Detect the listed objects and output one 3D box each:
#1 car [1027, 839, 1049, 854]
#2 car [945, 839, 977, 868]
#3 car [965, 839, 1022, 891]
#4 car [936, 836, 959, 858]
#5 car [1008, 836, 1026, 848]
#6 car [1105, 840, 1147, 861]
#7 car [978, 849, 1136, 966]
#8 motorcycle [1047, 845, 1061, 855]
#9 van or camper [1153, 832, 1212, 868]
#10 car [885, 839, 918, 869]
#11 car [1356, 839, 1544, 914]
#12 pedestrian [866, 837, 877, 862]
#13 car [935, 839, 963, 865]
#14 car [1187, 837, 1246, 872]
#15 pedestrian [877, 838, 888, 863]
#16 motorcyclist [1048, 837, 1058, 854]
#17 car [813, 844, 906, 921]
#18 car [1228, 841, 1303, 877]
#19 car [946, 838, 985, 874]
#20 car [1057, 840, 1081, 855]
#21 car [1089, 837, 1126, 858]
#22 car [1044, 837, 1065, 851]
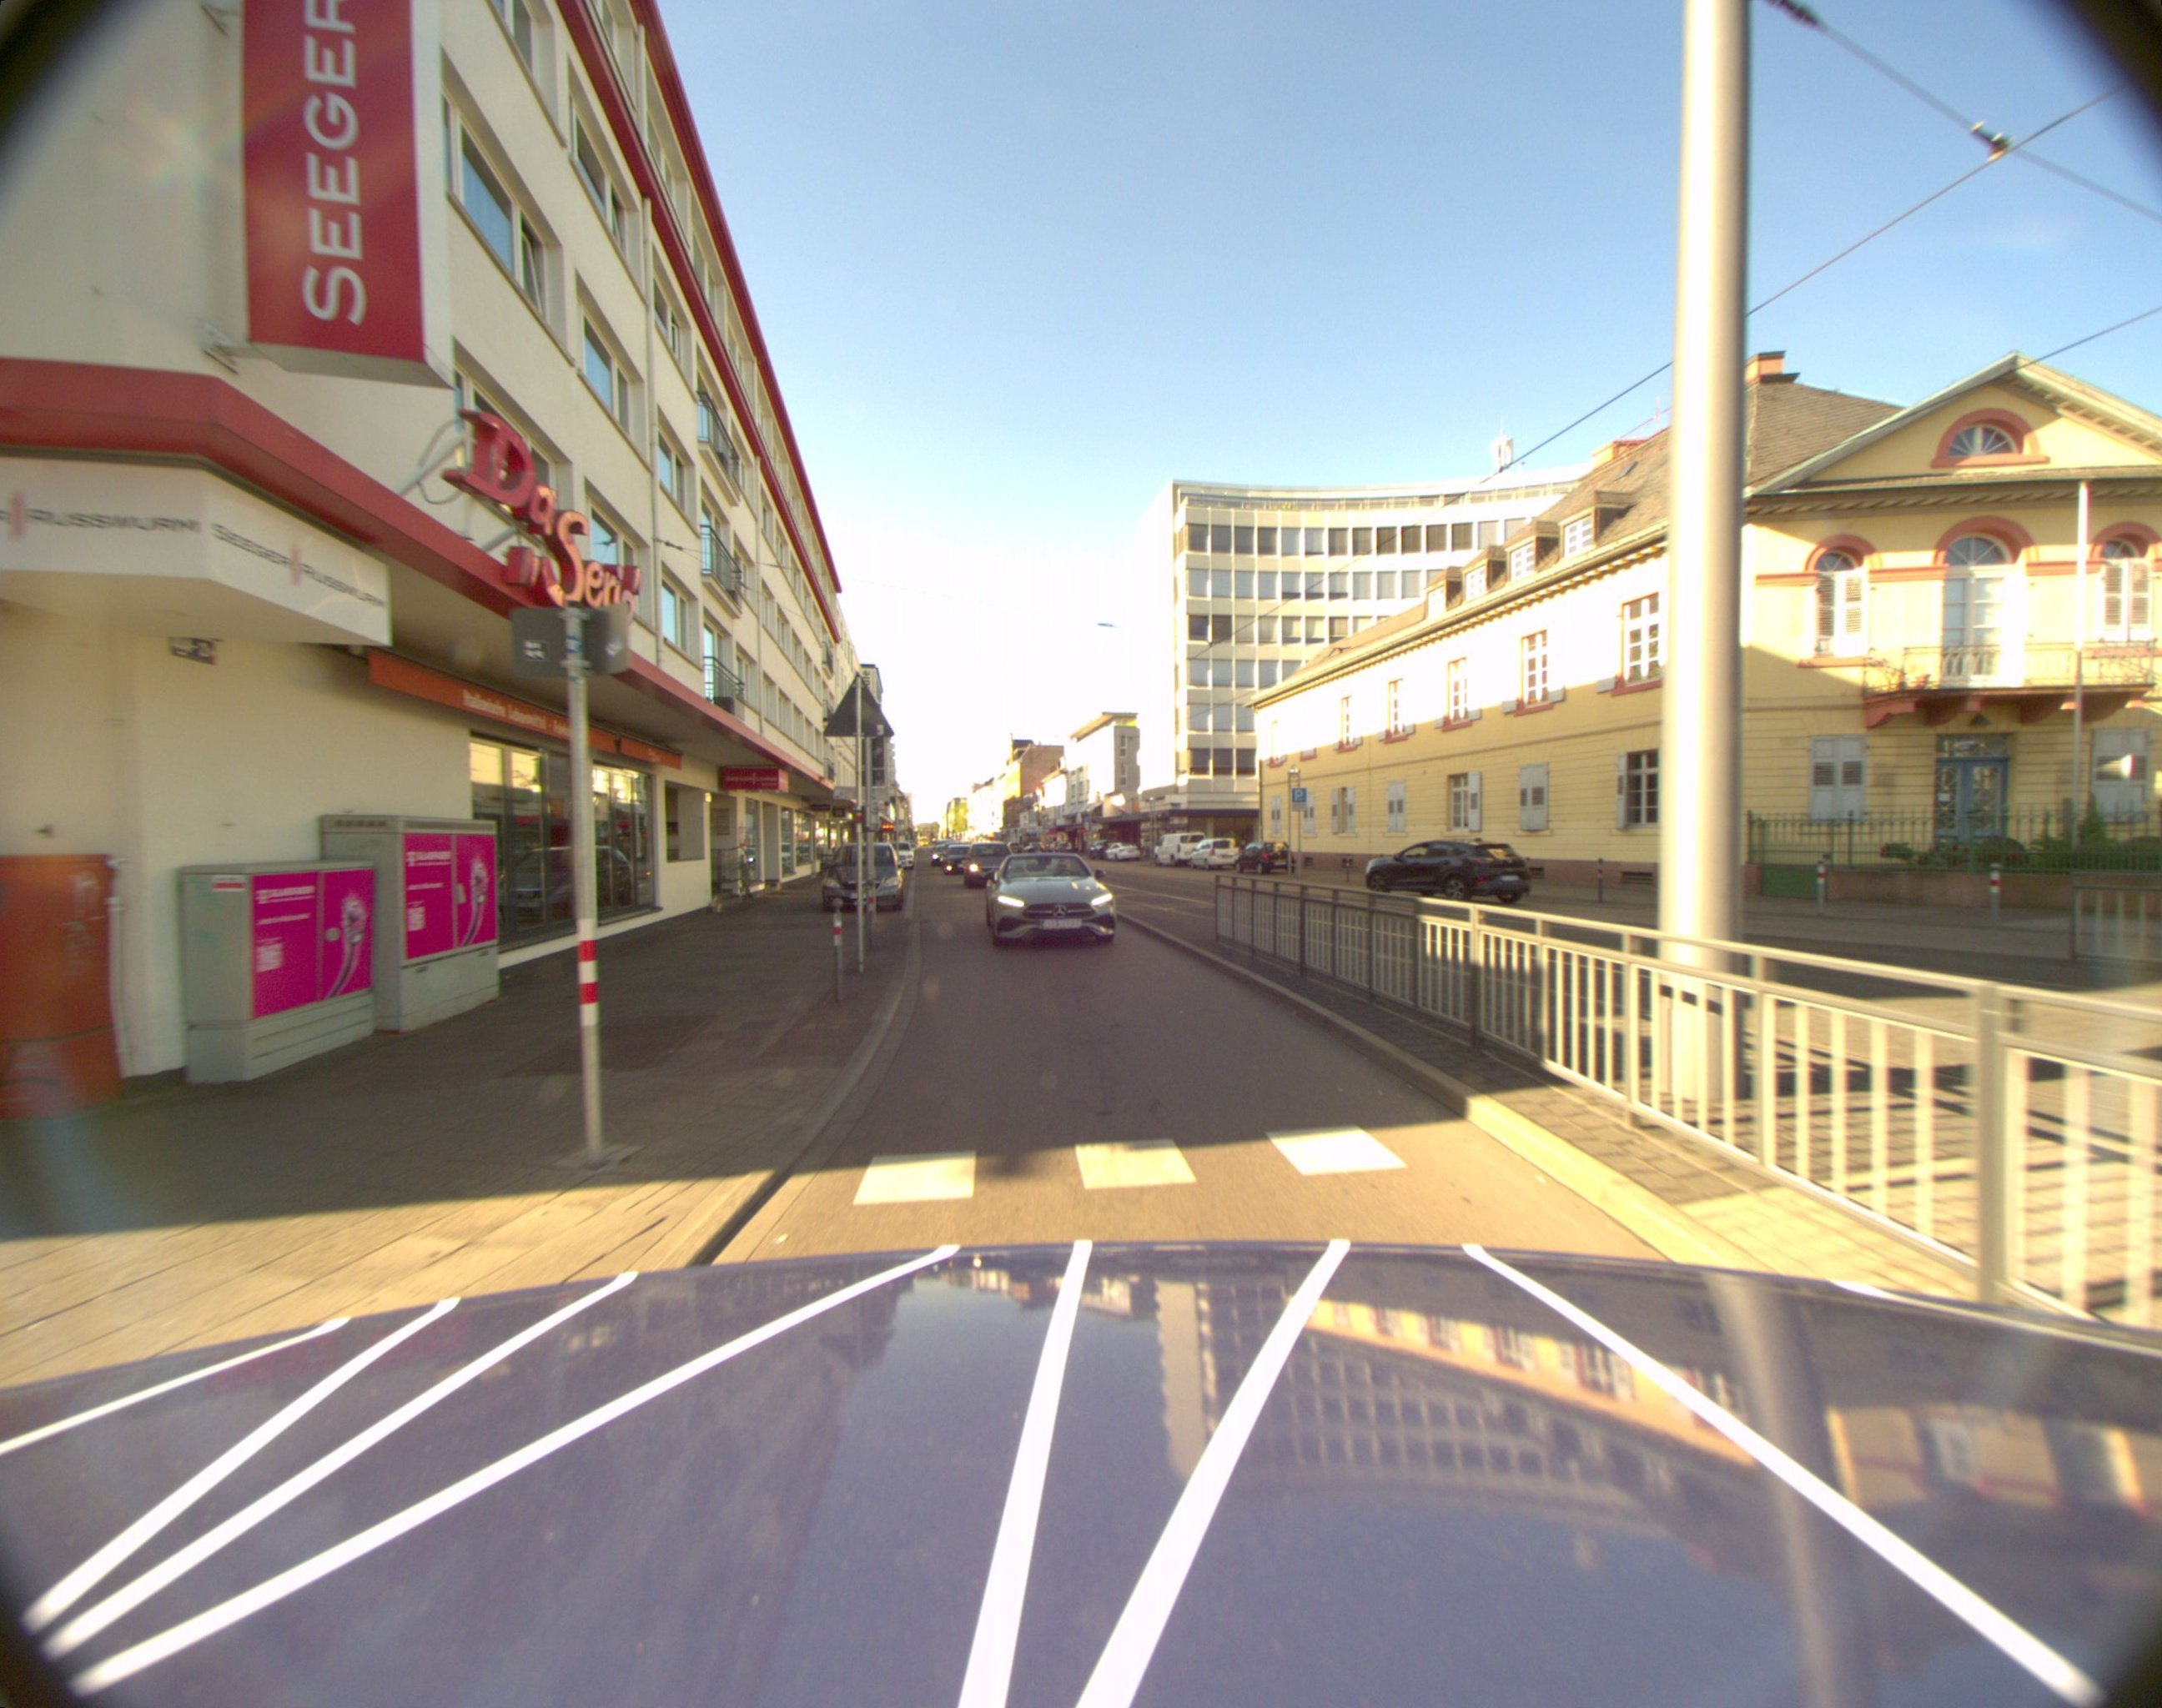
[{"bbox_3d":[-4.543,-0.790,79.729,1.783,1.501,4.664,0,1,-9],"label":"car"},{"bbox_3d":[-7.257,-0.061,45.651,1.739,1.654,3.956,0,2,-11],"label":"car"},{"bbox_3d":[-3.197,0.336,27.188,1.739,1.654,3.956,0,2,-11],"label":"car"},{"bbox_3d":[-10.670,-0.552,60.727,1.739,1.654,3.956,0,2,-11],"label":"car"},{"bbox_3d":[-8.187,-1.547,96.671,1.783,1.501,3.855,0,1,-12],"label":"car"},{"bbox_3d":[3.447,-0.292,58.951,1.933,1.444,4.286,-3,2,-15],"label":"car"},{"bbox_3d":[-0.625,0.701,12.564,1.871,1.431,4.768,0,2,-11],"label":"car"},{"bbox_3d":[-2.499,-0.367,69.778,0.601,0.921,2.152,-2,2,-19],"label":"motorcycle"},{"bbox_3d":[6.015,-0.320,45.812,1.961,1.962,4.790,-3,2,-12],"label":"van or camper"},{"bbox_3d":[-10.684,-0.037,45.453,1.785,1.654,4.157,0,2,-11],"label":"car"},{"bbox_3d":[8.850,0.449,18.636,1.692,1.552,4.114,-2,2,-20],"label":"car"},{"bbox_3d":[-15.239,-0.341,55.332,0.706,1.808,0.806,-2,3,-13],"label":"pedestrian"},{"bbox_3d":[-8.802,-0.150,50.491,1.739,1.654,3.776,0,2,-11],"label":"car"},{"bbox_3d":[7.109,-0.032,40.218,1.782,1.612,4.171,-3,2,-9],"label":"car"},{"bbox_3d":[-14.678,-0.274,56.191,0.739,1.808,0.747,-2,3,-13],"label":"pedestrian"},{"bbox_3d":[-2.541,-0.801,69.860,0.655,1.550,0.882,-2,3,-20],"label":"motorcyclist"},{"bbox_3d":[-5.178,0.583,18.242,1.783,1.560,3.956,0,2,-11],"label":"car"},{"bbox_3d":[8.281,0.175,34.502,1.783,1.431,3.956,-3,2,-11],"label":"car"},{"bbox_3d":[-5.815,0.068,37.995,1.785,1.654,3.956,0,2,-11],"label":"car"},{"bbox_3d":[-1.295,-0.719,81.359,1.788,1.409,3.592,-2,2,-13],"label":"car"},{"bbox_3d":[2.204,-0.576,64.151,1.932,1.633,4.275,-3,2,-14],"label":"car"},{"bbox_3d":[-3.122,-1.119,87.382,1.788,1.511,3.828,-2,2,-11],"label":"car"}]
